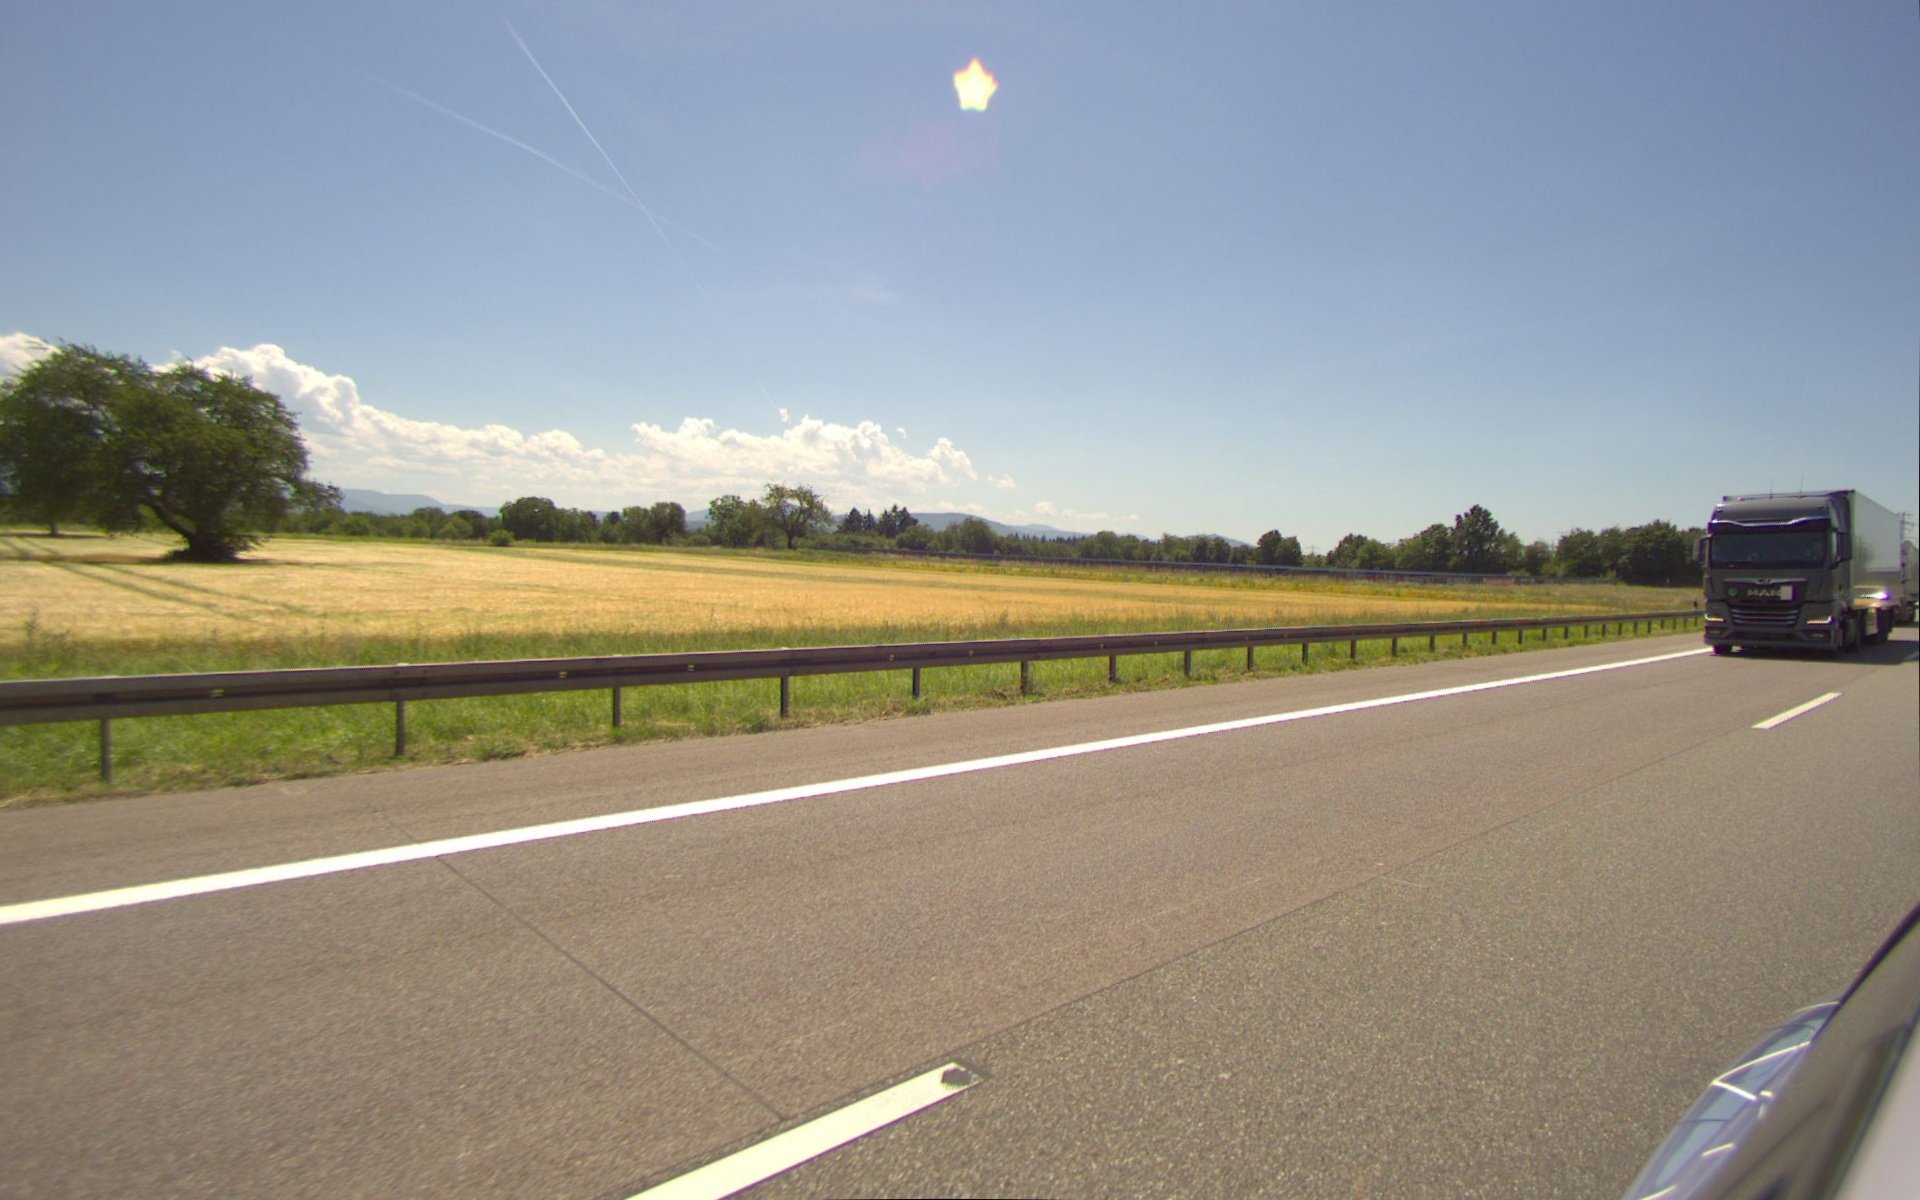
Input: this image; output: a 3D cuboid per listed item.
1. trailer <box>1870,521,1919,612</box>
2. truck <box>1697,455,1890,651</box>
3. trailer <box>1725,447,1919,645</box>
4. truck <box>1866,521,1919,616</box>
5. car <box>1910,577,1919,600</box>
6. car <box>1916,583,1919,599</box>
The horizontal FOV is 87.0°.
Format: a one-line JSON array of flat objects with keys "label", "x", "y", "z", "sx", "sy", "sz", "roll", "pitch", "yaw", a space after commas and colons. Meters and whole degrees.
[{"label": "trailer", "x": 49.913, "y": -1.955, "z": 53.273, "sx": 2.596, "sy": 4.303, "sz": 13.431, "roll": 1, "pitch": 4, "yaw": 44}, {"label": "truck", "x": 20.583, "y": -1.085, "z": 24.933, "sx": 4.889, "sy": 4.309, "sz": 2.913, "roll": -1, "pitch": 1, "yaw": -41}, {"label": "trailer", "x": 25.946, "y": -1.378, "z": 29.710, "sx": 13.744, "sy": 4.715, "sz": 2.906, "roll": -1, "pitch": 1, "yaw": -42}, {"label": "truck", "x": 44.751, "y": -1.557, "z": 47.890, "sx": 2.601, "sy": 4.308, "sz": 5.010, "roll": 1, "pitch": 3, "yaw": 44}, {"label": "car", "x": 100.036, "y": -1.170, "z": 104.548, "sx": 2.178, "sy": 2.294, "sz": 4.884, "roll": 3, "pitch": 3, "yaw": 38}, {"label": "car", "x": 95.663, "y": -0.854, "z": 99.636, "sx": 1.776, "sy": 1.494, "sz": 3.946, "roll": 3, "pitch": 3, "yaw": 38}]
